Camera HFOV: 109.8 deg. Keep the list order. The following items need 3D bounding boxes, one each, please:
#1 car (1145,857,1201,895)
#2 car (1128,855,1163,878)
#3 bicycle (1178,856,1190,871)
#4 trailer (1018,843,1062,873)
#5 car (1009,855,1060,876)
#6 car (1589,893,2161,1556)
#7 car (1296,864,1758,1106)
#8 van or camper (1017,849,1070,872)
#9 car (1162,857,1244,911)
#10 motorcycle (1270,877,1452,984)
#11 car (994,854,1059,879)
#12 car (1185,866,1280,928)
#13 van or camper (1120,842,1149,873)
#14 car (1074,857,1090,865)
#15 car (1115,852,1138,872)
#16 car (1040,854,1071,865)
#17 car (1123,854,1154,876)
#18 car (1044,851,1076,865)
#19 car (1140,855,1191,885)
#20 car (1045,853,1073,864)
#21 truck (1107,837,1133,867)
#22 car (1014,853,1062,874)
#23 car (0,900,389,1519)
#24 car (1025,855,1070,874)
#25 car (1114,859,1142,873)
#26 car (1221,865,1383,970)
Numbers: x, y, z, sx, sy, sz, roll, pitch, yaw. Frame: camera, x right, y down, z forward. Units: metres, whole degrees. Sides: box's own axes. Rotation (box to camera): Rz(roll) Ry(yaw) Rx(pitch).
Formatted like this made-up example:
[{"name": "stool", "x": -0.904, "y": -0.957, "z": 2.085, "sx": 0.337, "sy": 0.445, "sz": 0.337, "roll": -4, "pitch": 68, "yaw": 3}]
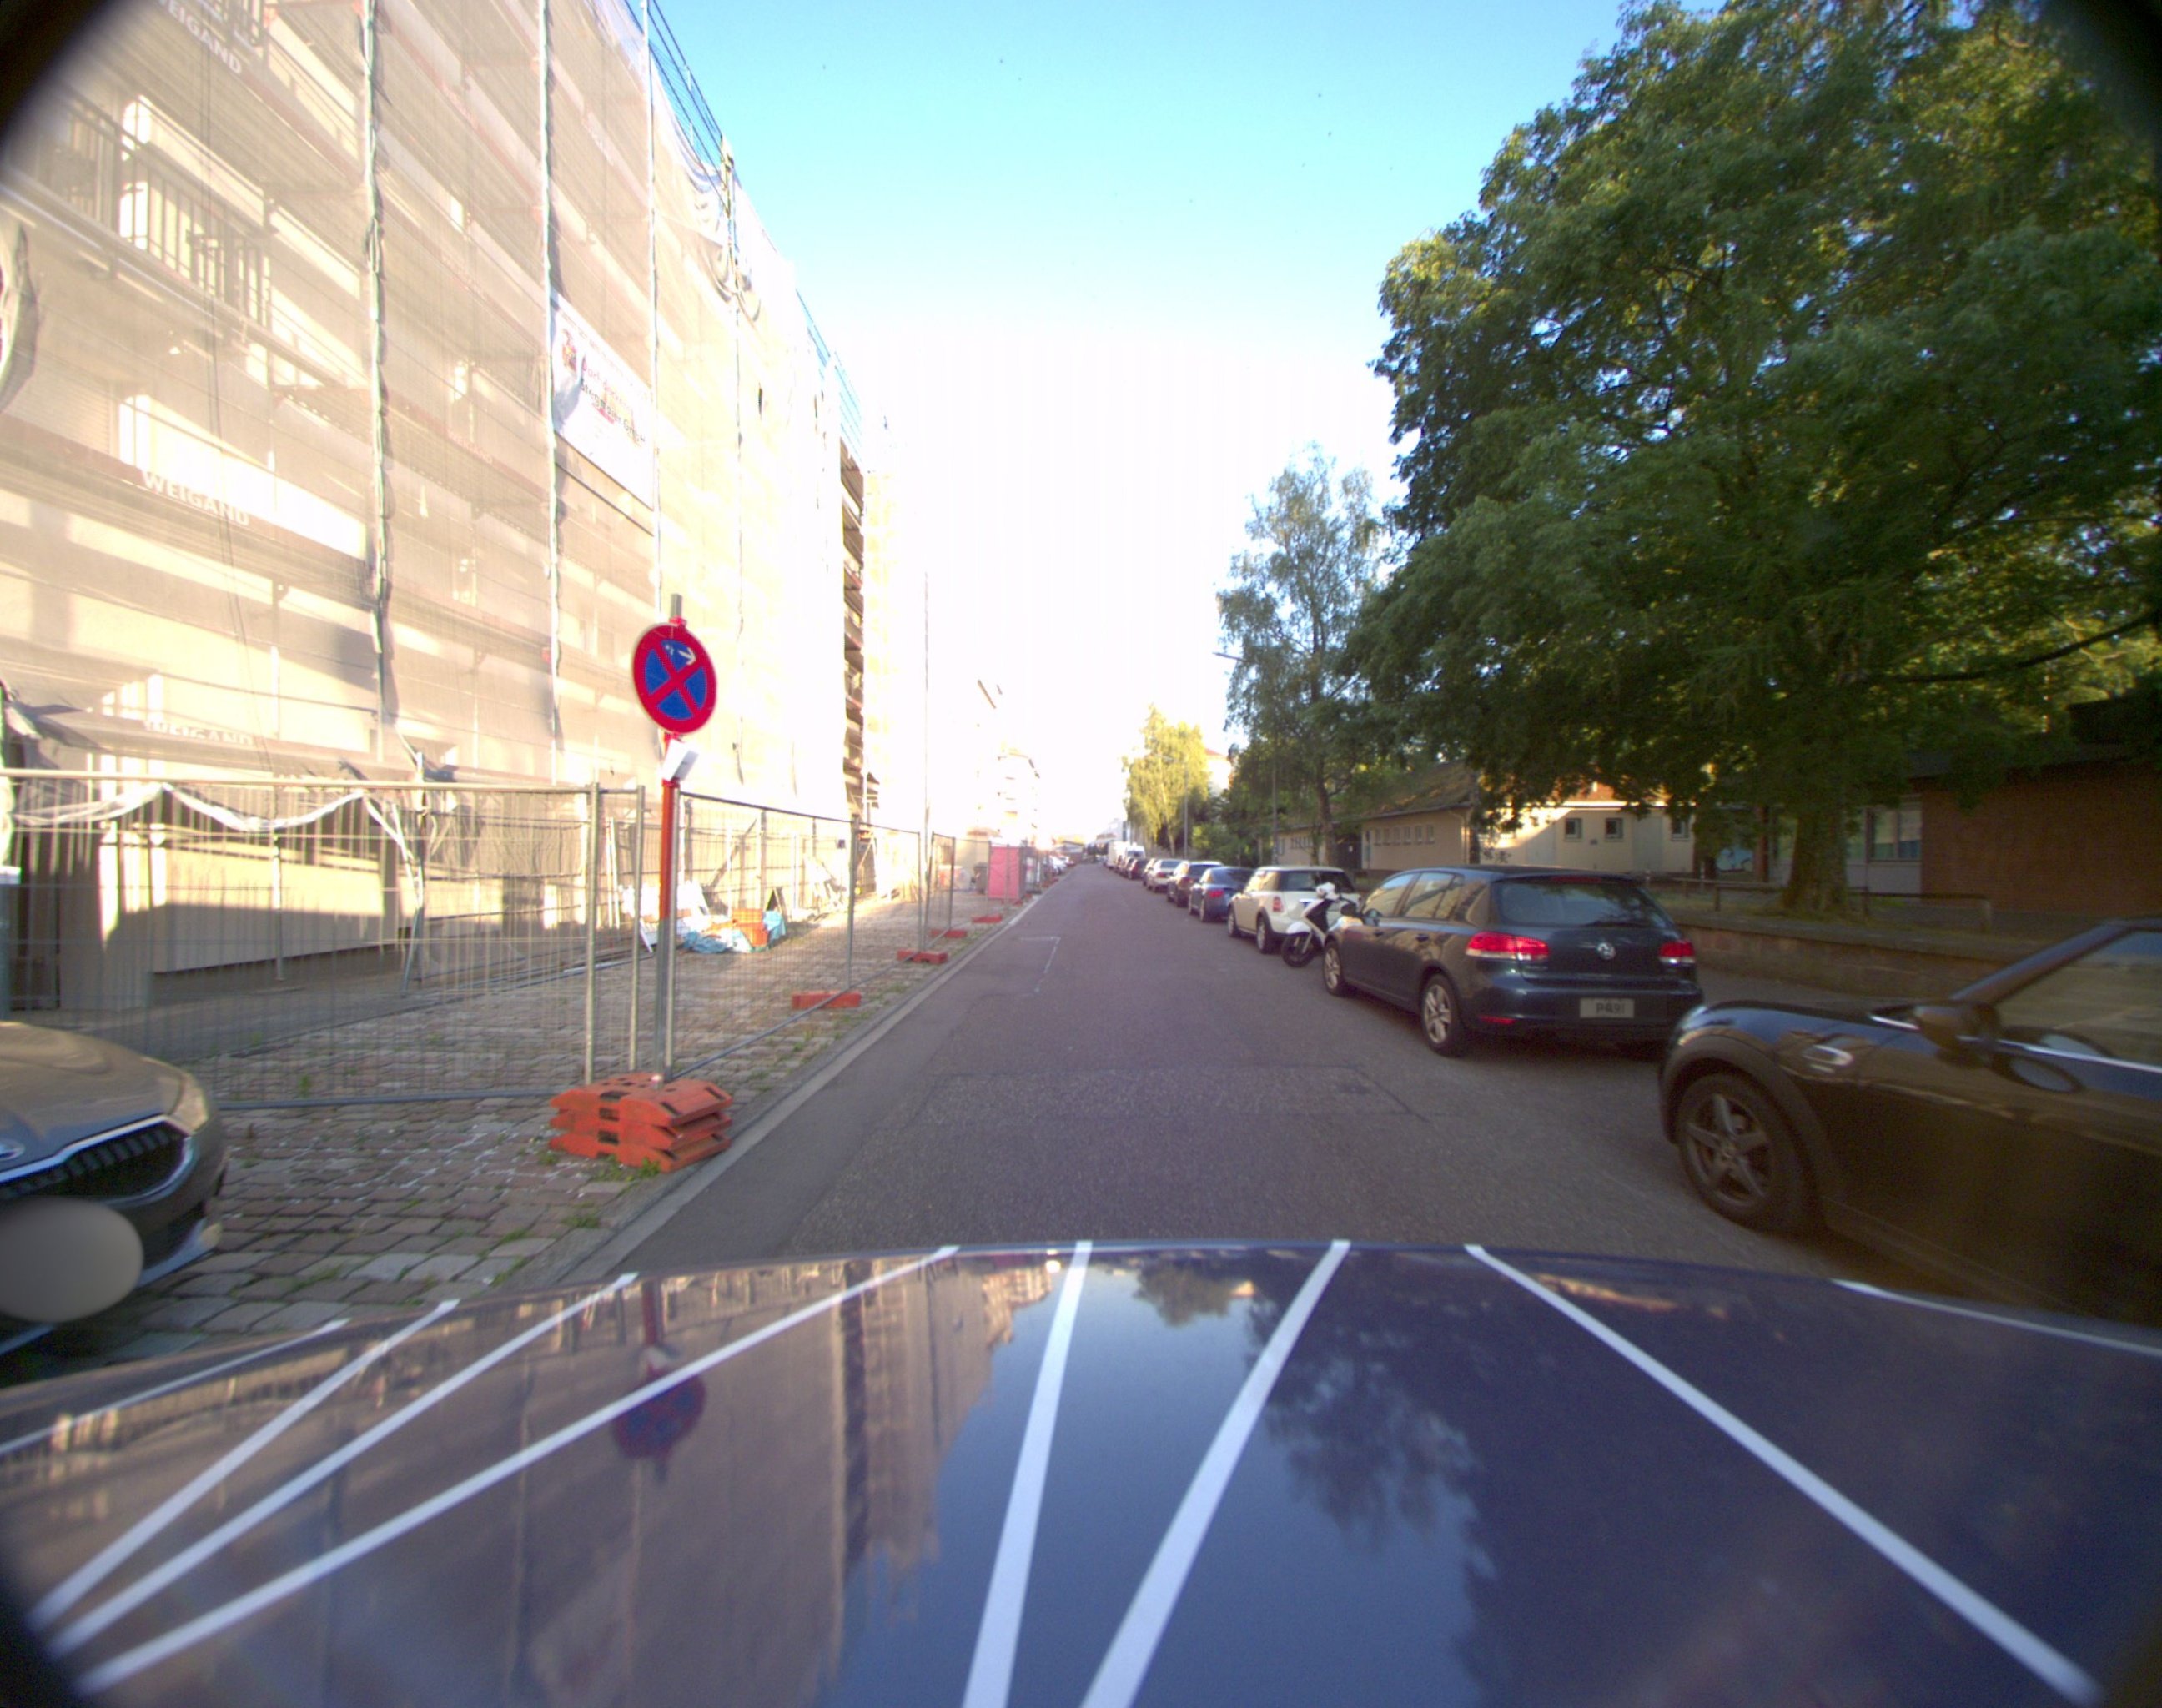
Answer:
[{"name": "car", "x": 3.902, "y": 0.901, "z": 32.882, "sx": 1.787, "sy": 1.437, "sz": 4.748, "roll": 2, "pitch": 0, "yaw": 0}, {"name": "car", "x": 4.248, "y": 0.819, "z": 50.461, "sx": 1.998, "sy": 1.444, "sz": 4.288, "roll": -1, "pitch": 0, "yaw": 1}, {"name": "bicycle", "x": 7.522, "y": 0.684, "z": 55.647, "sx": 0.544, "sy": 1.111, "sz": 1.955, "roll": -1, "pitch": 0, "yaw": -1}, {"name": "trailer", "x": -3.379, "y": 0.321, "z": 63.280, "sx": 3.577, "sy": 2.323, "sz": 1.940, "roll": 2, "pitch": 0, "yaw": -2}, {"name": "car", "x": -3.703, "y": 0.927, "z": 60.751, "sx": 3.998, "sy": 1.628, "sz": 1.903, "roll": 0, "pitch": 0, "yaw": -2}, {"name": "car", "x": 3.424, "y": 0.959, "z": 1.942, "sx": 1.641, "sy": 1.469, "sz": 3.993, "roll": 1, "pitch": 0, "yaw": 2}, {"name": "car", "x": 3.530, "y": 0.887, "z": 7.135, "sx": 1.720, "sy": 1.487, "sz": 4.360, "roll": 1, "pitch": 0, "yaw": 0}, {"name": "van or camper", "x": -3.481, "y": 0.613, "z": 70.743, "sx": 4.846, "sy": 2.084, "sz": 2.040, "roll": 0, "pitch": 0, "yaw": 0}, {"name": "car", "x": 3.821, "y": 0.900, "z": 24.588, "sx": 1.864, "sy": 1.529, "sz": 4.758, "roll": 1, "pitch": 0, "yaw": 0}, {"name": "motorcycle", "x": 3.662, "y": 0.990, "z": 10.143, "sx": 2.167, "sy": 1.296, "sz": 0.881, "roll": -1, "pitch": 1, "yaw": 15}, {"name": "car", "x": -3.590, "y": 0.837, "z": 50.754, "sx": 4.163, "sy": 1.606, "sz": 1.872, "roll": 0, "pitch": 0, "yaw": 2}, {"name": "car", "x": 3.712, "y": 1.015, "z": 19.303, "sx": 1.663, "sy": 1.306, "sz": 4.155, "roll": 1, "pitch": 0, "yaw": 1}, {"name": "van or camper", "x": 4.349, "y": 0.275, "z": 62.643, "sx": 1.998, "sy": 2.442, "sz": 6.083, "roll": 0, "pitch": 0, "yaw": 0}, {"name": "car", "x": 0.096, "y": 1.214, "z": 132.573, "sx": 2.000, "sy": 1.481, "sz": 4.427, "roll": -1, "pitch": 0, "yaw": -11}, {"name": "car", "x": 4.336, "y": 0.749, "z": 73.464, "sx": 1.915, "sy": 1.777, "sz": 4.949, "roll": 1, "pitch": 0, "yaw": -1}, {"name": "car", "x": -3.542, "y": 0.774, "z": 106.310, "sx": 4.311, "sy": 1.532, "sz": 1.923, "roll": 0, "pitch": 0, "yaw": 2}, {"name": "car", "x": 4.264, "y": 0.777, "z": 56.848, "sx": 1.998, "sy": 1.510, "sz": 4.789, "roll": -1, "pitch": 0, "yaw": 1}, {"name": "car", "x": -3.170, "y": 0.558, "z": 114.245, "sx": 4.685, "sy": 1.988, "sz": 2.000, "roll": 0, "pitch": 0, "yaw": 1}, {"name": "car", "x": 4.267, "y": 0.783, "z": 38.783, "sx": 1.999, "sy": 1.444, "sz": 3.999, "roll": -1, "pitch": 0, "yaw": -2}, {"name": "car", "x": -3.178, "y": 0.647, "z": 111.337, "sx": 3.998, "sy": 1.619, "sz": 1.784, "roll": 0, "pitch": 0, "yaw": -2}, {"name": "truck", "x": 4.559, "y": -0.258, "z": 90.833, "sx": 2.532, "sy": 3.334, "sz": 8.017, "roll": 2, "pitch": 0, "yaw": 0}, {"name": "car", "x": -3.679, "y": 0.810, "z": 65.376, "sx": 3.997, "sy": 1.718, "sz": 1.999, "roll": 0, "pitch": 1, "yaw": -1}, {"name": "car", "x": -4.807, "y": 0.920, "z": 1.996, "sx": 3.998, "sy": 1.507, "sz": 2.019, "roll": 2, "pitch": 0, "yaw": -4}, {"name": "car", "x": -2.987, "y": 0.915, "z": 68.008, "sx": 3.997, "sy": 1.630, "sz": 1.999, "roll": 0, "pitch": 1, "yaw": -1}, {"name": "car", "x": 4.148, "y": 1.038, "z": 67.886, "sx": 1.999, "sy": 1.182, "sz": 4.034, "roll": -1, "pitch": 0, "yaw": -4}, {"name": "car", "x": 3.621, "y": 0.972, "z": 13.145, "sx": 1.605, "sy": 1.423, "sz": 3.803, "roll": 2, "pitch": 0, "yaw": -1}]
